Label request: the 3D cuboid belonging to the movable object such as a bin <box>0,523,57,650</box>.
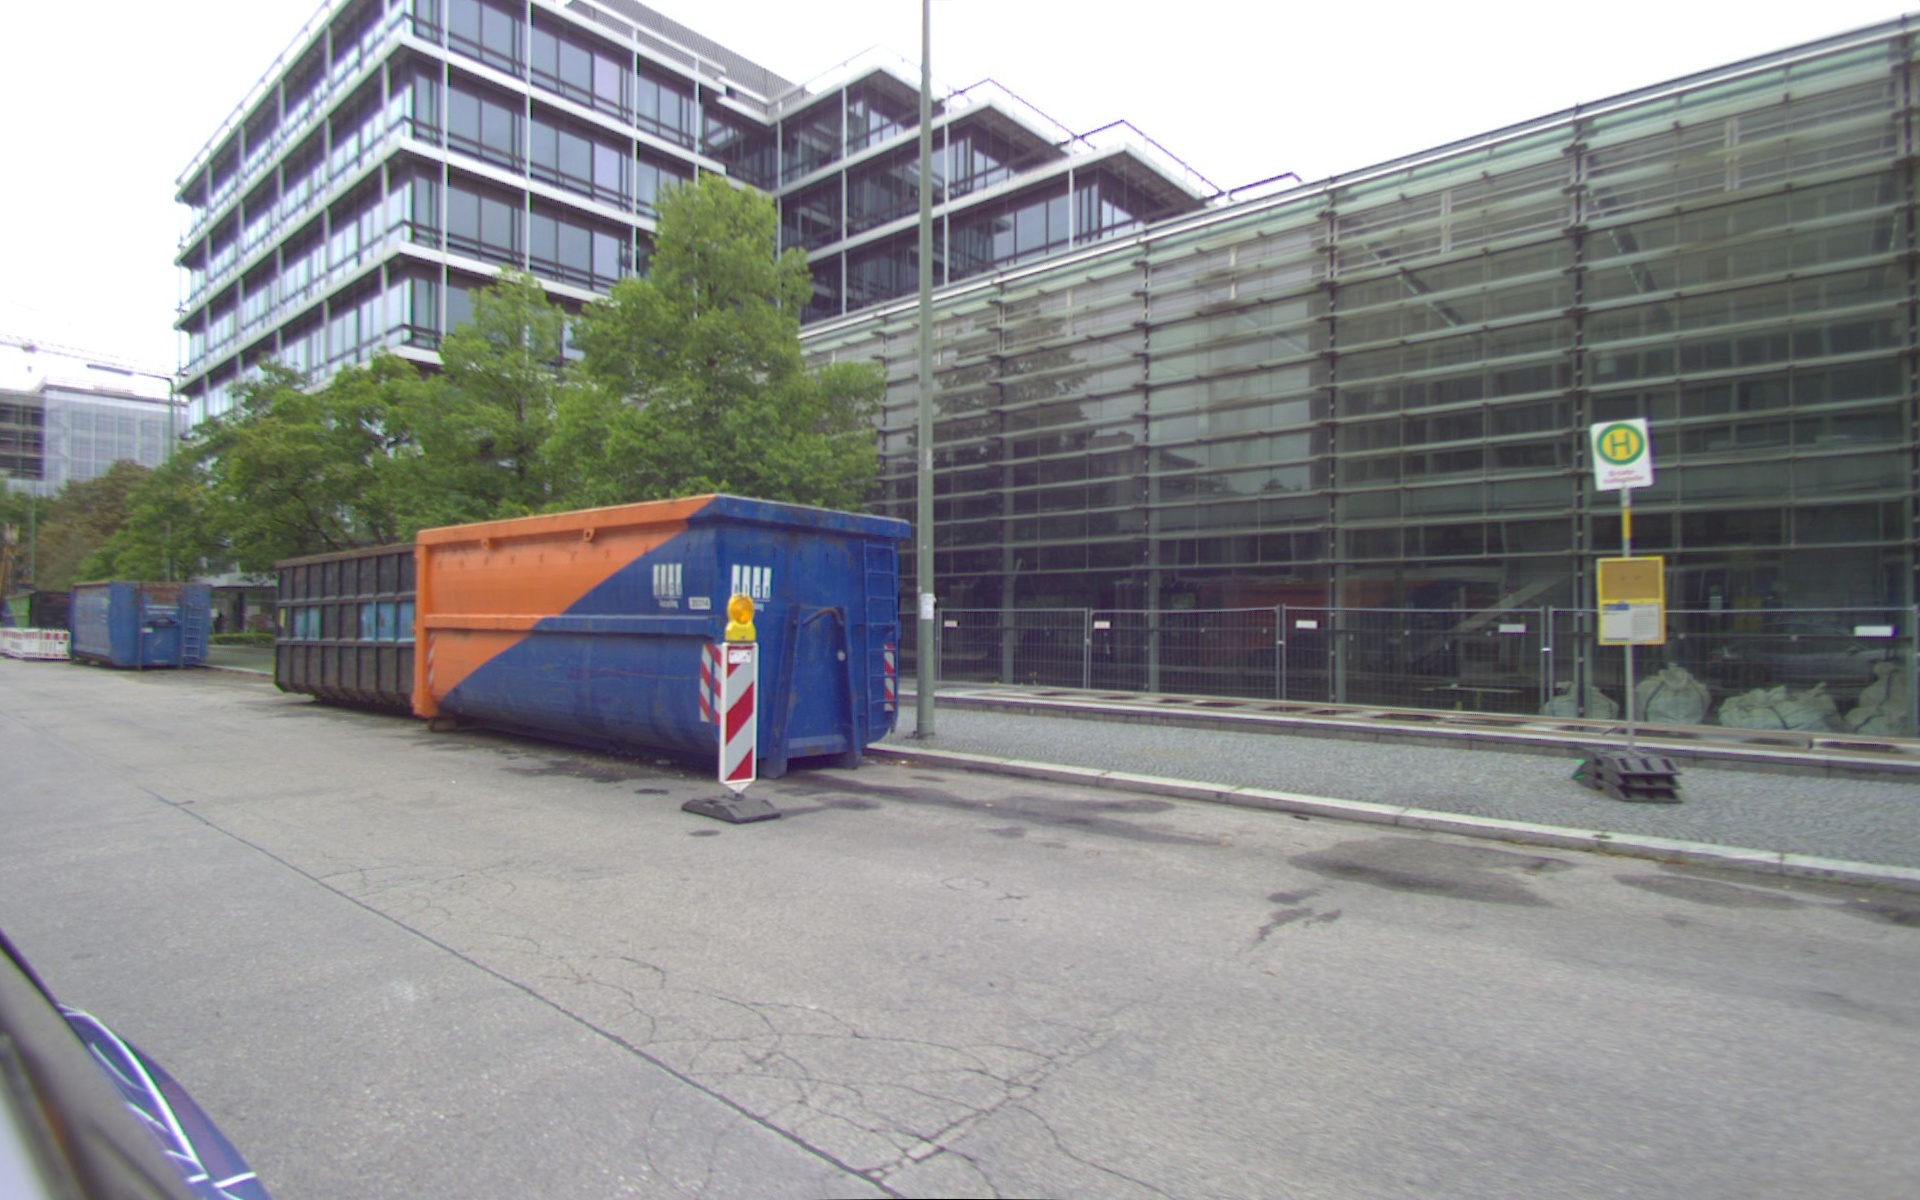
[{"bbox_3d":[-51.025,-0.607,54.262,8.337,6.370,3.198,-1,-2,44],"label":"movable object such as a bin"}]
